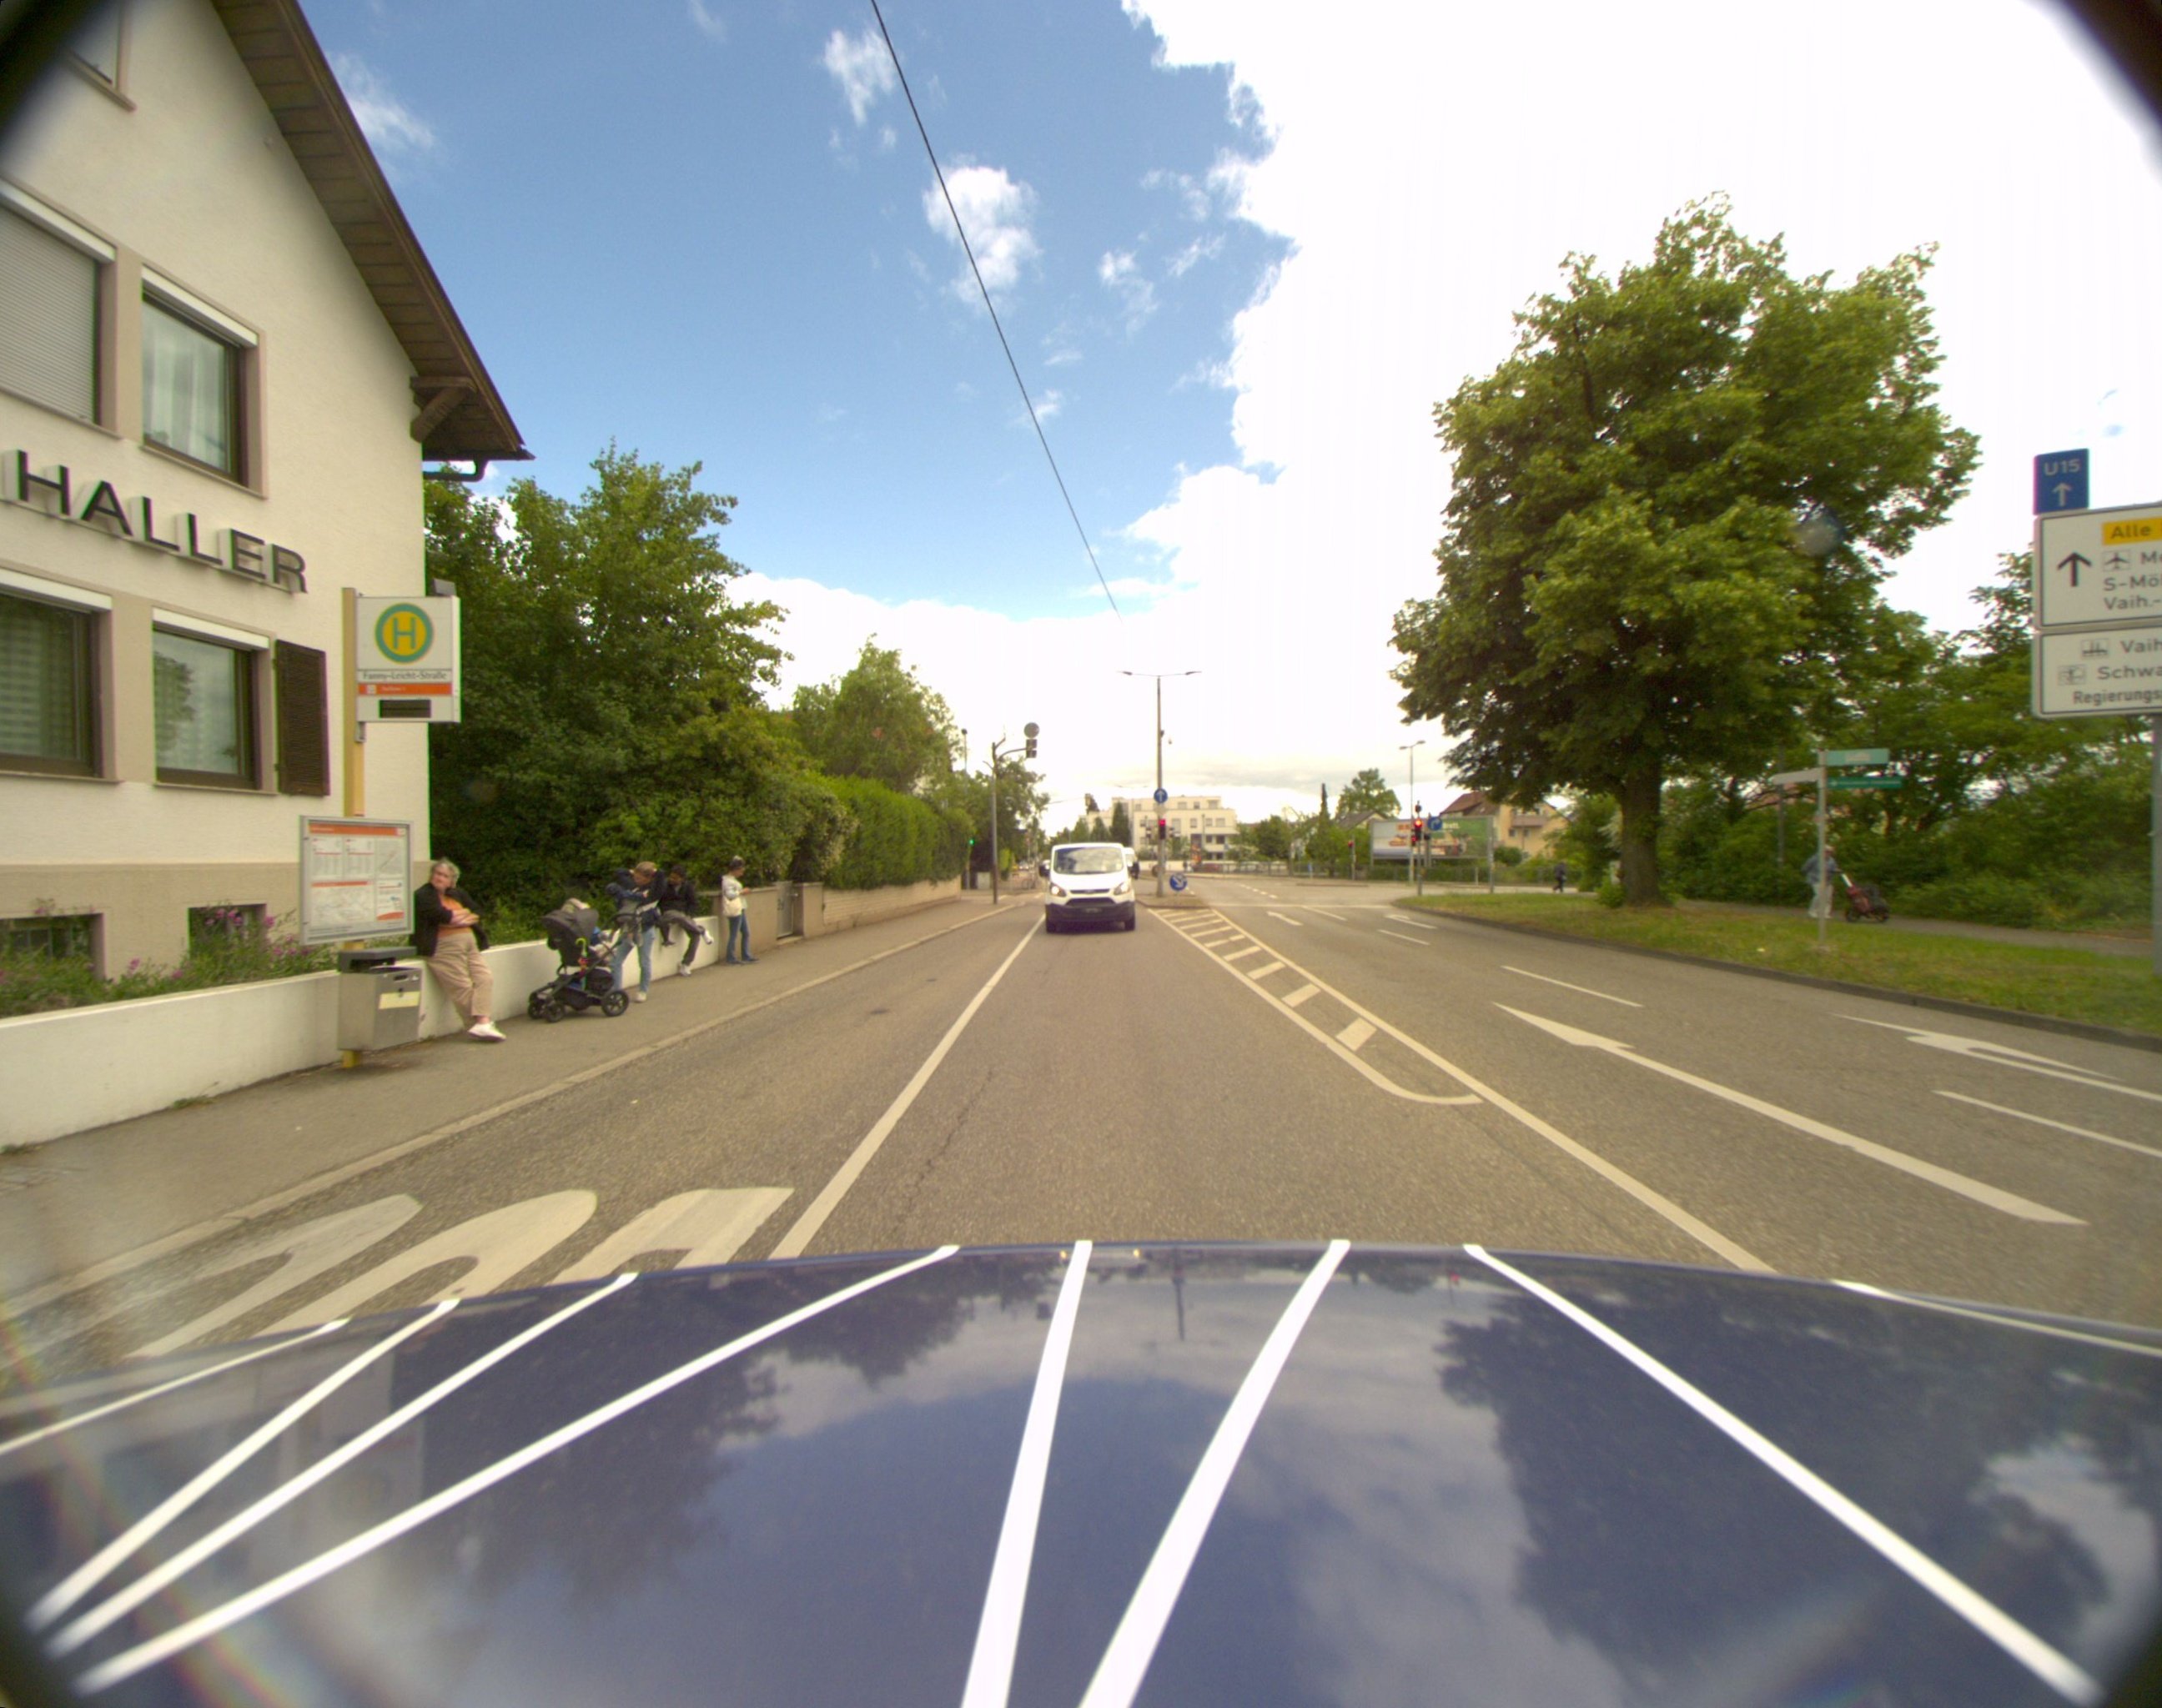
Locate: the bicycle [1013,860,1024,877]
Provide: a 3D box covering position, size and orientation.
[{"bbox_3d":[-5.960,1.396,72.953,0.894,1.501,2.782,4,-1,-3],"label":"bicycle"}]

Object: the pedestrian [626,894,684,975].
[{"bbox_3d":[-5.350,1.006,9.557,0.455,0.958,0.383,3,-1,-4],"label":"pedestrian"}]

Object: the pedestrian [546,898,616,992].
[{"bbox_3d":[-5.443,0.984,8.281,0.455,0.958,0.383,3,-1,-4],"label":"pedestrian"}]

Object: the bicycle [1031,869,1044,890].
[{"bbox_3d":[-2.251,1.323,39.519,0.629,1.022,1.504,-1,0,-1],"label":"bicycle"}]

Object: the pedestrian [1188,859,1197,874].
[{"bbox_3d":[12.194,1.382,82.751,0.658,1.624,0.832,-2,0,-15],"label":"pedestrian"}]

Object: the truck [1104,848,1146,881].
[{"bbox_3d":[3.547,0.852,62.845,2.038,2.555,6.052,1,-1,-11],"label":"truck"}]

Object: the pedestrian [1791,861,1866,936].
[{"bbox_3d":[15.688,0.912,15.965,0.657,1.513,0.923,0,0,-1],"label":"pedestrian"}]

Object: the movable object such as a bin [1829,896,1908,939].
[{"bbox_3d":[15.695,1.254,15.164,0.657,0.793,0.897,0,0,-1],"label":"movable object such as a bin"}]

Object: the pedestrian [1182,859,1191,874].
[{"bbox_3d":[11.464,1.381,82.568,0.658,1.624,1.069,-2,0,-15],"label":"pedestrian"}]

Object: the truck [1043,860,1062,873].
[{"bbox_3d":[-4.122,1.771,110.085,1.618,1.780,3.993,1,-1,-20],"label":"truck"}]

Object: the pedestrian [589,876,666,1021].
[{"bbox_3d":[-4.930,1.004,8.271,0.550,1.508,0.362,2,-1,11],"label":"pedestrian"}]

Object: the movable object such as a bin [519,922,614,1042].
[{"bbox_3d":[-4.985,1.219,7.378,0.440,1.052,0.569,3,-1,28],"label":"movable object such as a bin"}]

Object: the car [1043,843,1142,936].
[{"bbox_3d":[0.113,0.799,19.294,2.076,1.956,5.556,-1,0,-3],"label":"car"}]

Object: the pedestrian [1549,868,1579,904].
[{"bbox_3d":[20.182,1.337,31.760,0.776,1.400,0.599,-1,6,-9],"label":"pedestrian"}]

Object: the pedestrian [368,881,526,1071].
[{"bbox_3d":[-5.309,0.996,6.404,0.782,1.491,0.605,2,0,-4],"label":"pedestrian"}]

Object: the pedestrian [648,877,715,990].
[{"bbox_3d":[-5.311,1.032,10.090,0.619,1.419,0.514,3,-1,40],"label":"pedestrian"}]

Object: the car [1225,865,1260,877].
[{"bbox_3d":[21.663,2.307,101.966,4.117,1.526,1.651,1,-1,36],"label":"car"}]

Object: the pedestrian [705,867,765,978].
[{"bbox_3d":[-5.026,0.980,11.051,0.470,1.546,0.546,4,0,12],"label":"pedestrian"}]
